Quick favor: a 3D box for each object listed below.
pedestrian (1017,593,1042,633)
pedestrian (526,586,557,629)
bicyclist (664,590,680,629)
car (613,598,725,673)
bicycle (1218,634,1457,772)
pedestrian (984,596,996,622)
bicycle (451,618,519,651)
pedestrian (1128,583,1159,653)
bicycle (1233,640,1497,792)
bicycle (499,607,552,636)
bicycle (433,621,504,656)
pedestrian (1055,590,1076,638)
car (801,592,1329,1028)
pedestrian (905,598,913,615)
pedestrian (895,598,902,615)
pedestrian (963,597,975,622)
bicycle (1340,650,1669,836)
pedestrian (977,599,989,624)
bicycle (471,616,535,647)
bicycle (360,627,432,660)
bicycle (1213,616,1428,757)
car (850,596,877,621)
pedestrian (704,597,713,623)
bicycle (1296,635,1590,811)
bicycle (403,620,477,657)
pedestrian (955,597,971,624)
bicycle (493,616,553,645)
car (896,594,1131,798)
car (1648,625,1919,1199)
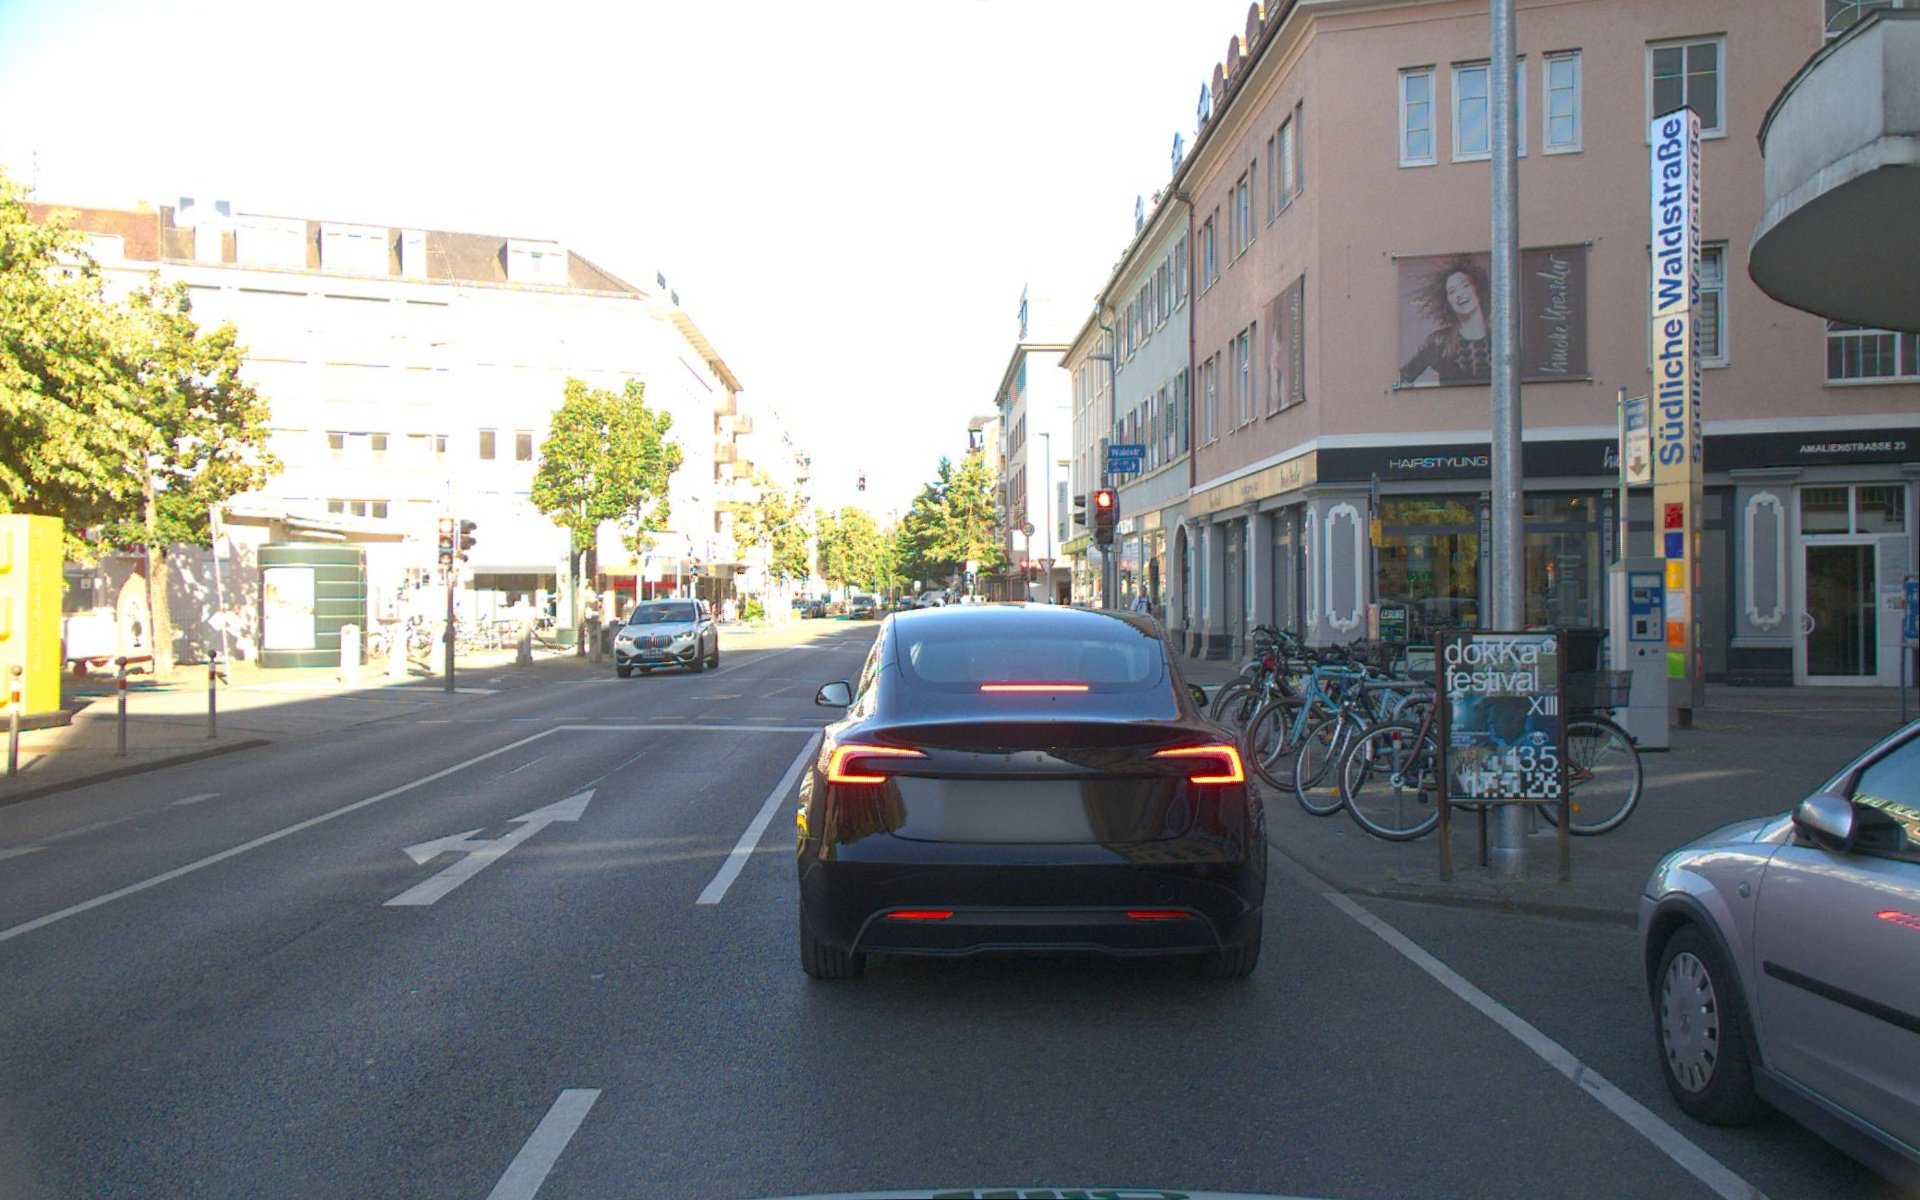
[{"bbox_3d":[2.918,0.542,69.389,0.742,1.660,0.951,1,-1,-18],"label":"pedestrian"},{"bbox_3d":[-20.411,0.376,80.736,1.041,2.049,1.049,0,-1,41],"label":"pedestrian"},{"bbox_3d":[-11.485,0.377,65.941,0.516,1.530,0.472,1,-1,-27],"label":"bicyclist"},{"bbox_3d":[-6.286,0.741,36.068,1.752,1.485,3.756,-2,0,-1],"label":"car"},{"bbox_3d":[3.094,0.847,13.670,1.833,1.056,0.548,-2,-1,5],"label":"bicycle"},{"bbox_3d":[1.745,0.519,95.863,0.516,1.447,0.474,1,-1,-31],"label":"pedestrian"},{"bbox_3d":[-14.225,1.030,49.544,1.826,0.950,0.606,1,0,-2],"label":"bicycle"},{"bbox_3d":[4.772,0.470,43.054,0.735,1.796,0.837,2,0,3],"label":"pedestrian"},{"bbox_3d":[3.026,0.862,12.453,1.834,1.056,0.533,-2,-1,3],"label":"bicycle"},{"bbox_3d":[-20.393,1.024,77.622,2.334,1.318,0.509,1,-1,-27],"label":"bicycle"},{"bbox_3d":[-13.988,1.086,47.074,1.826,0.950,0.606,1,0,-2],"label":"bicycle"},{"bbox_3d":[3.856,0.512,60.512,0.692,1.773,0.540,0,0,-1],"label":"pedestrian"},{"bbox_3d":[0.332,0.720,7.601,1.785,1.467,3.999,0,0,-1],"label":"car"},{"bbox_3d":[-6.258,0.826,202.170,0.912,2.049,0.938,1,-1,-1],"label":"pedestrian"},{"bbox_3d":[-7.521,0.805,202.297,0.912,2.049,0.938,1,-1,-1],"label":"pedestrian"},{"bbox_3d":[0.542,0.541,95.755,0.467,1.442,0.516,1,-1,-32],"label":"pedestrian"},{"bbox_3d":[3.276,0.863,10.039,1.833,1.056,0.353,-2,-1,6],"label":"bicycle"},{"bbox_3d":[1.325,0.652,95.278,0.516,1.447,0.474,1,-1,-31],"label":"pedestrian"},{"bbox_3d":[-14.327,0.987,51.910,1.826,0.950,0.606,0,0,-2],"label":"bicycle"},{"bbox_3d":[-14.448,1.110,42.391,1.612,0.806,0.606,1,0,-5],"label":"bicycle"},{"bbox_3d":[3.204,0.765,14.784,1.789,1.189,0.506,-2,-1,5],"label":"bicycle"},{"bbox_3d":[-6.906,0.612,118.781,1.751,1.675,4.401,1,0,-1],"label":"car"},{"bbox_3d":[-14.273,0.550,93.897,0.451,1.486,0.517,0,0,-6],"label":"pedestrian"},{"bbox_3d":[3.246,0.826,11.202,1.834,1.106,0.414,-2,-1,3],"label":"bicycle"},{"bbox_3d":[-14.131,1.044,44.982,1.826,0.950,0.606,1,0,-2],"label":"bicycle"},{"bbox_3d":[0.188,0.657,103.776,0.708,1.725,0.843,0,0,-28],"label":"pedestrian"},{"bbox_3d":[-14.363,0.996,54.358,1.826,0.950,0.606,0,0,-2],"label":"bicycle"},{"bbox_3d":[0.316,0.685,13.773,1.683,1.450,3.755,0,0,-2],"label":"car"},{"bbox_3d":[2.918,0.783,3.467,1.515,1.415,3.476,0,0,0],"label":"car"}]
